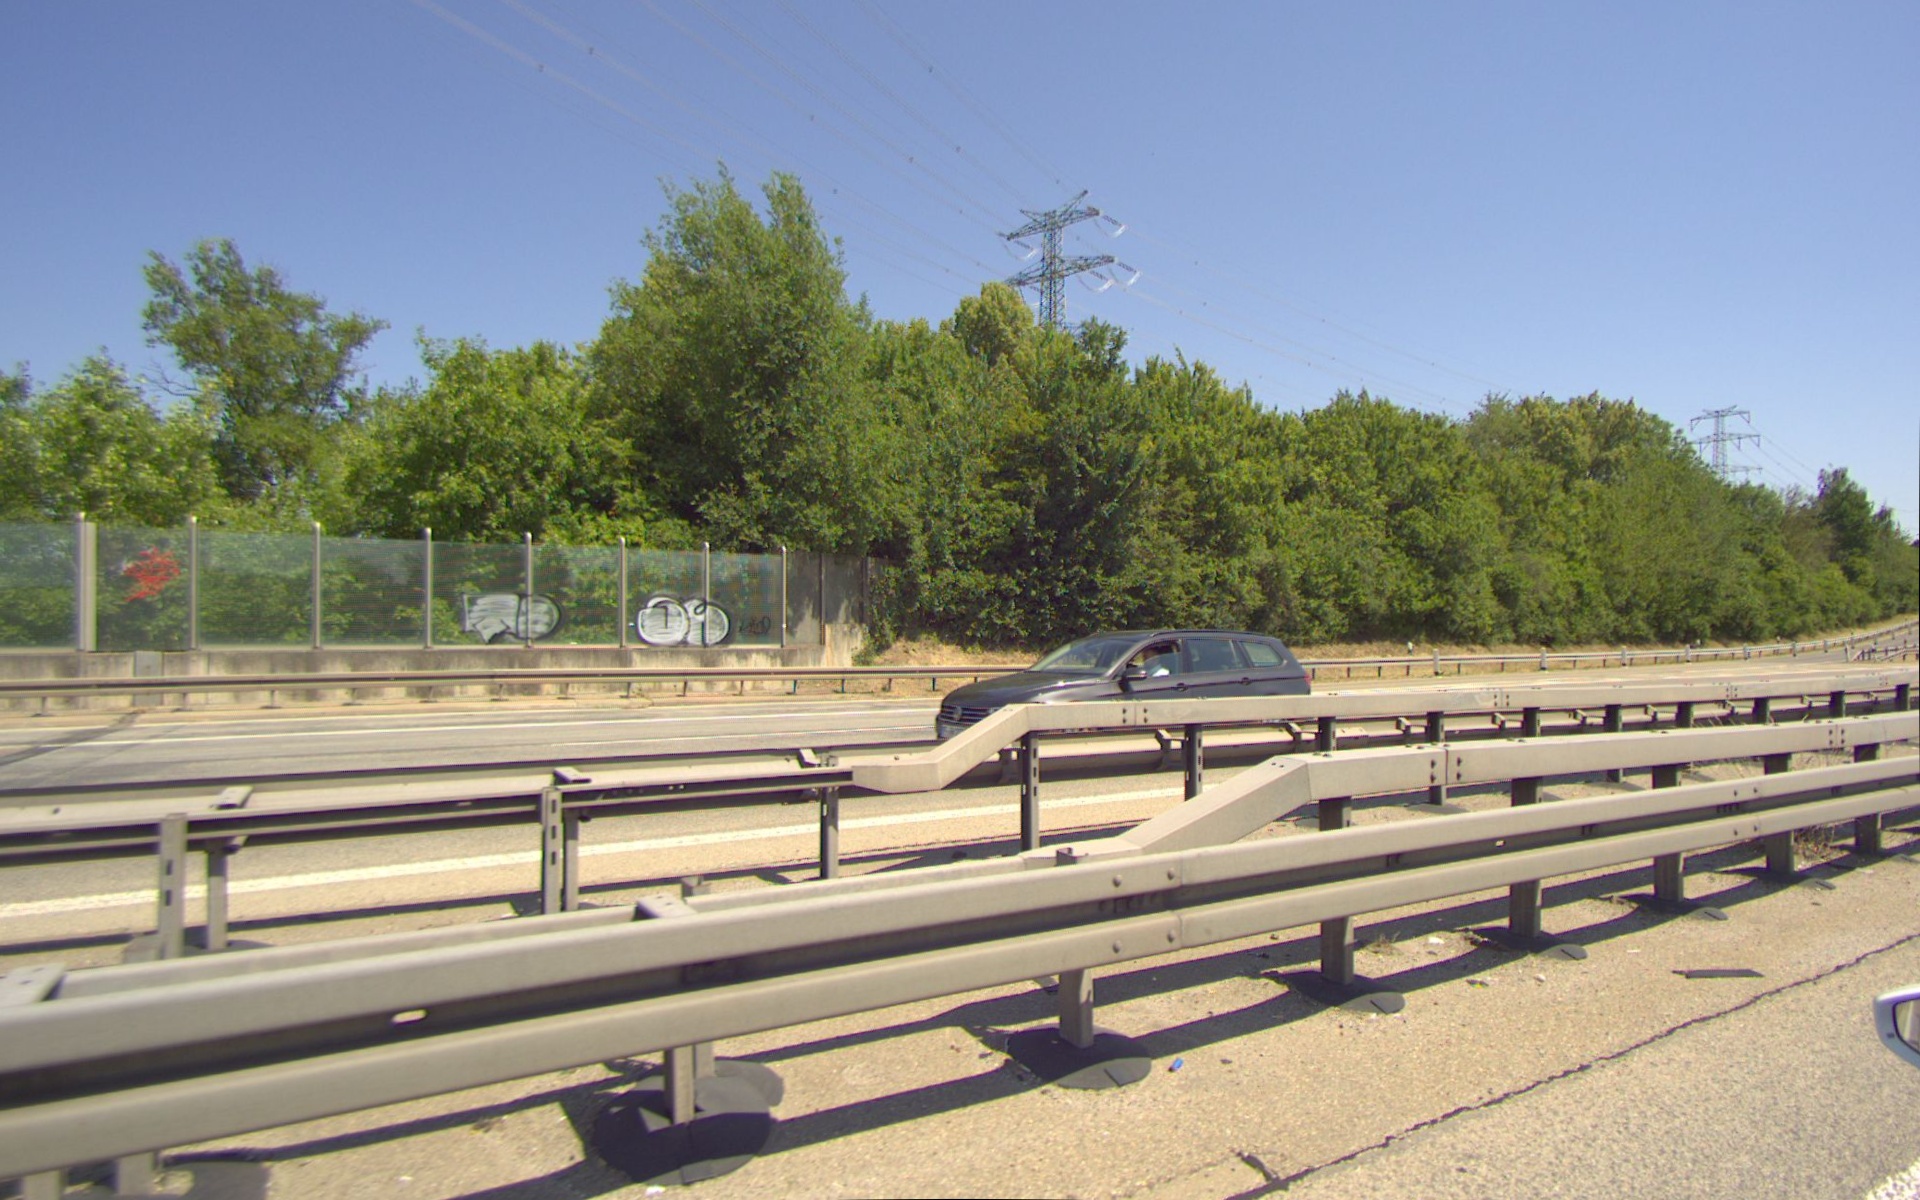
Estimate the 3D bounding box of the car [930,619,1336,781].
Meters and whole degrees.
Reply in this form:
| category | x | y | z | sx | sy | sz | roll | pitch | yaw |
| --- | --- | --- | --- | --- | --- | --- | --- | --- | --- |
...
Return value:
| category | x | y | z | sx | sy | sz | roll | pitch | yaw |
| --- | --- | --- | --- | --- | --- | --- | --- | --- | --- |
| car | 2.020 | 0.969 | 11.274 | 4.437 | 1.493 | 1.773 | 0 | -1 | -31 |
